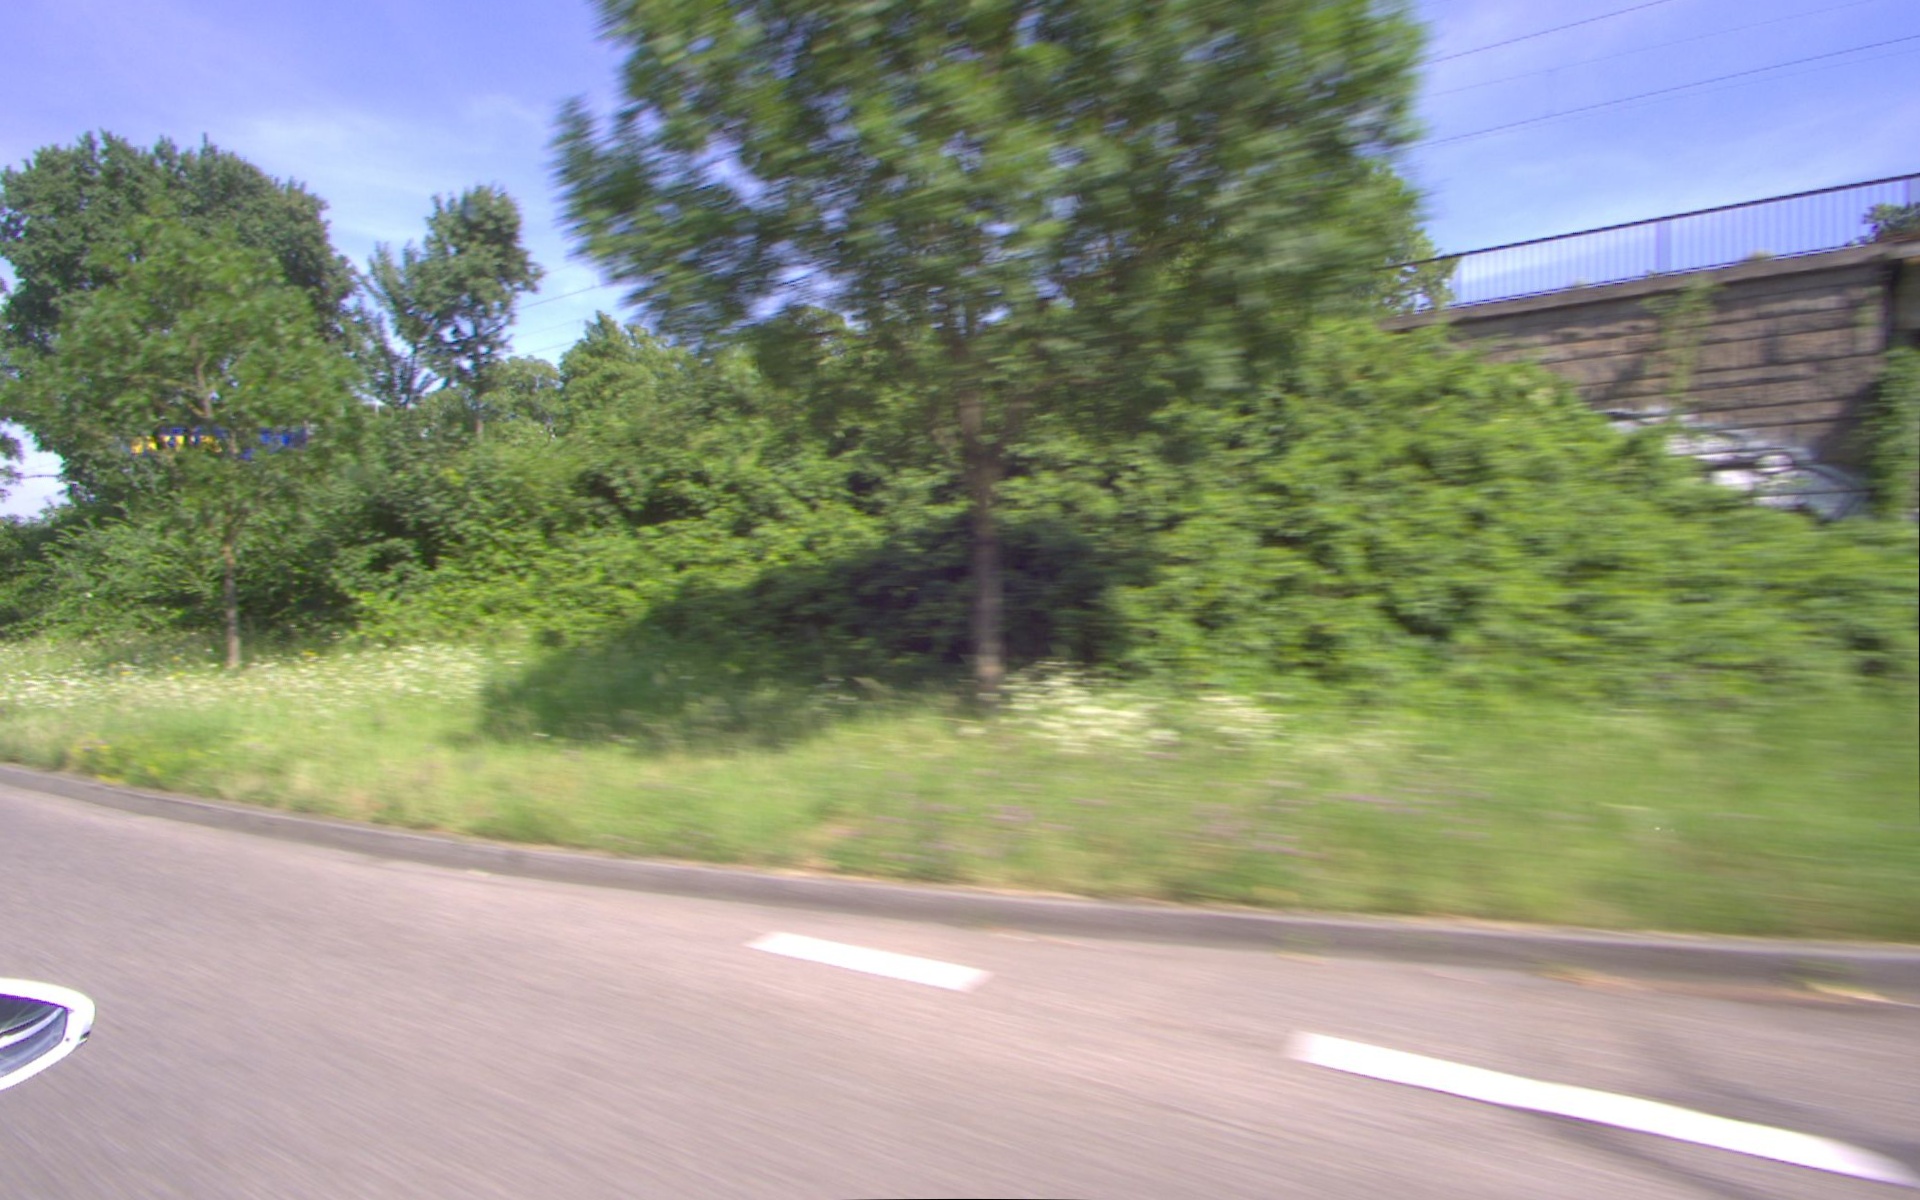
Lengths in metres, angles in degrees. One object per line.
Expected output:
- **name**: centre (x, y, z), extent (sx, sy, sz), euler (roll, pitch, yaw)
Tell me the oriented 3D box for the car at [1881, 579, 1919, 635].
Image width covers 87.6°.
- **car**: centre (25.781, 0.184, 25.119), extent (1.659, 1.461, 3.999), euler (-1, 0, 0)
